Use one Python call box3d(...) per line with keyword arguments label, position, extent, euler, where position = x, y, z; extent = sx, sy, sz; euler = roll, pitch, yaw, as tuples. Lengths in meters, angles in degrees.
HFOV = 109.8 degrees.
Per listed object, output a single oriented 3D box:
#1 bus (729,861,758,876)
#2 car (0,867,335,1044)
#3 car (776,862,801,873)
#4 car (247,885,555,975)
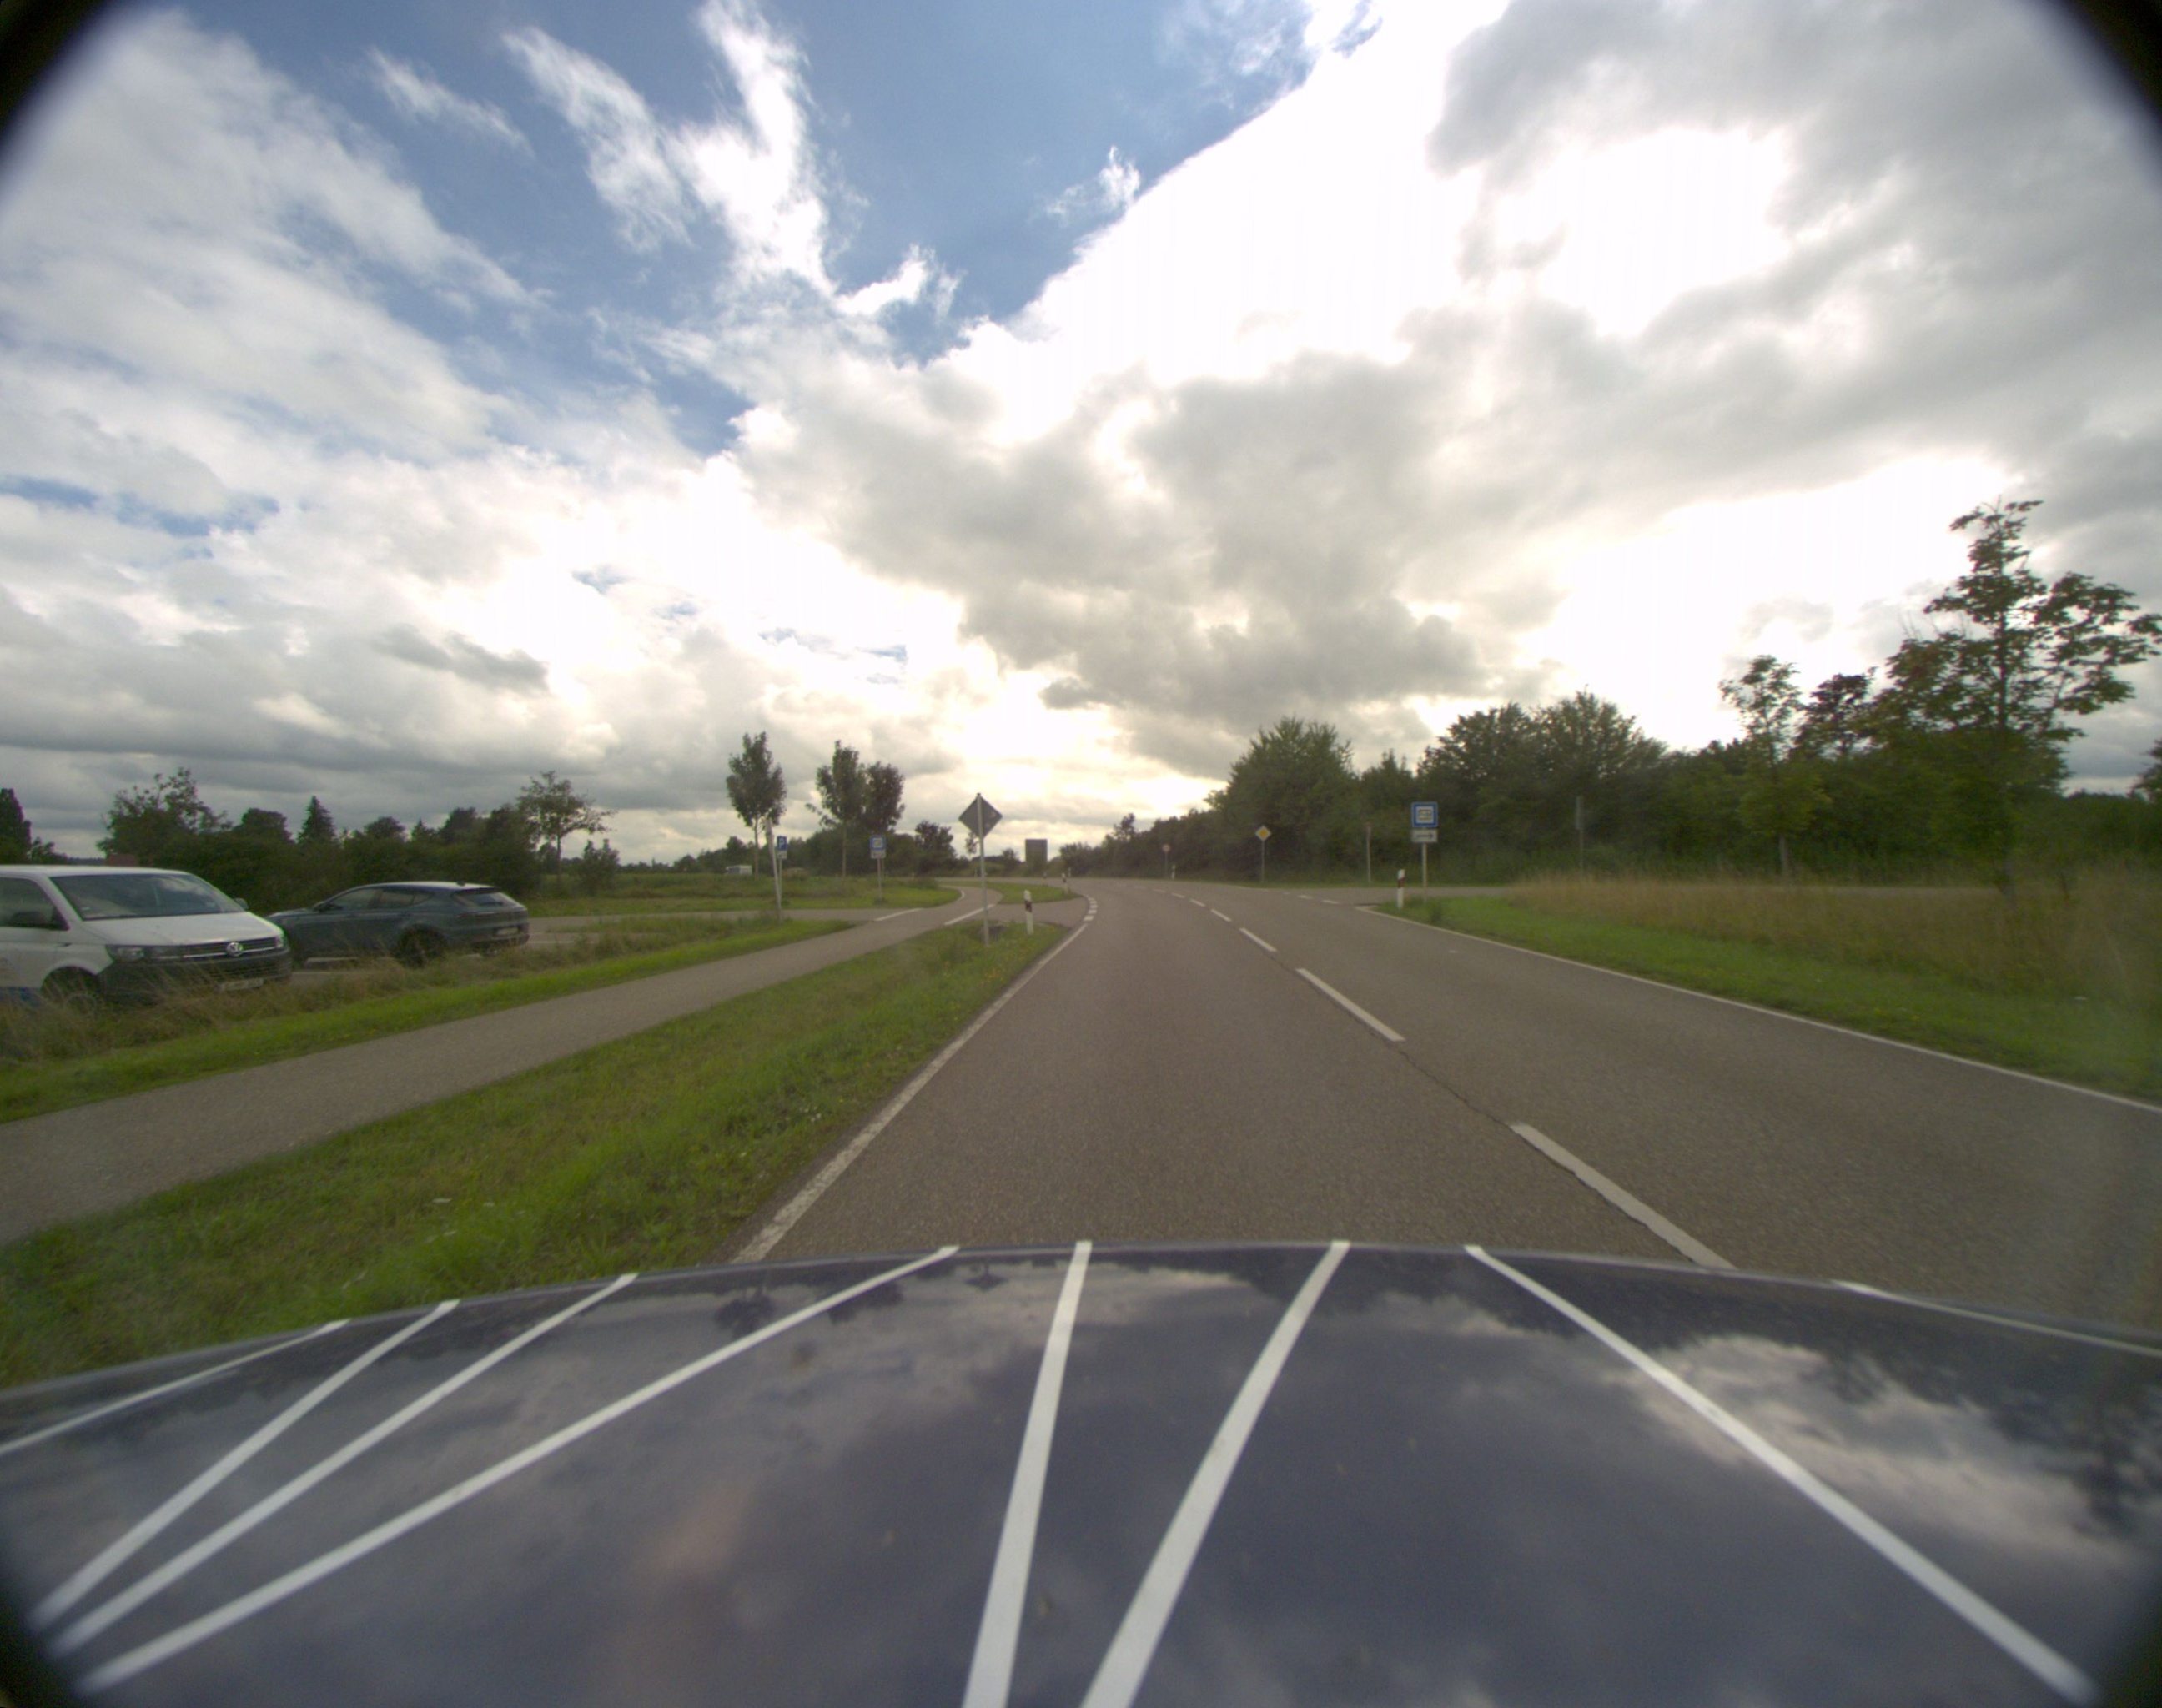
box3d(label="bus", position=(-67.333, 2.943, 151.361), extent=(2.488, 2.695, 8.407), euler=(-2, 0, -43))
box3d(label="car", position=(-13.028, 1.230, 9.770), extent=(4.958, 1.962, 1.955), euler=(-2, 0, 2))
box3d(label="car", position=(-53.082, 2.475, 137.686), extent=(5.172, 1.858, 2.124), euler=(-2, 0, 43))
box3d(label="car", position=(-12.882, 1.410, 14.590), extent=(4.282, 1.557, 1.838), euler=(0, 0, 2))
